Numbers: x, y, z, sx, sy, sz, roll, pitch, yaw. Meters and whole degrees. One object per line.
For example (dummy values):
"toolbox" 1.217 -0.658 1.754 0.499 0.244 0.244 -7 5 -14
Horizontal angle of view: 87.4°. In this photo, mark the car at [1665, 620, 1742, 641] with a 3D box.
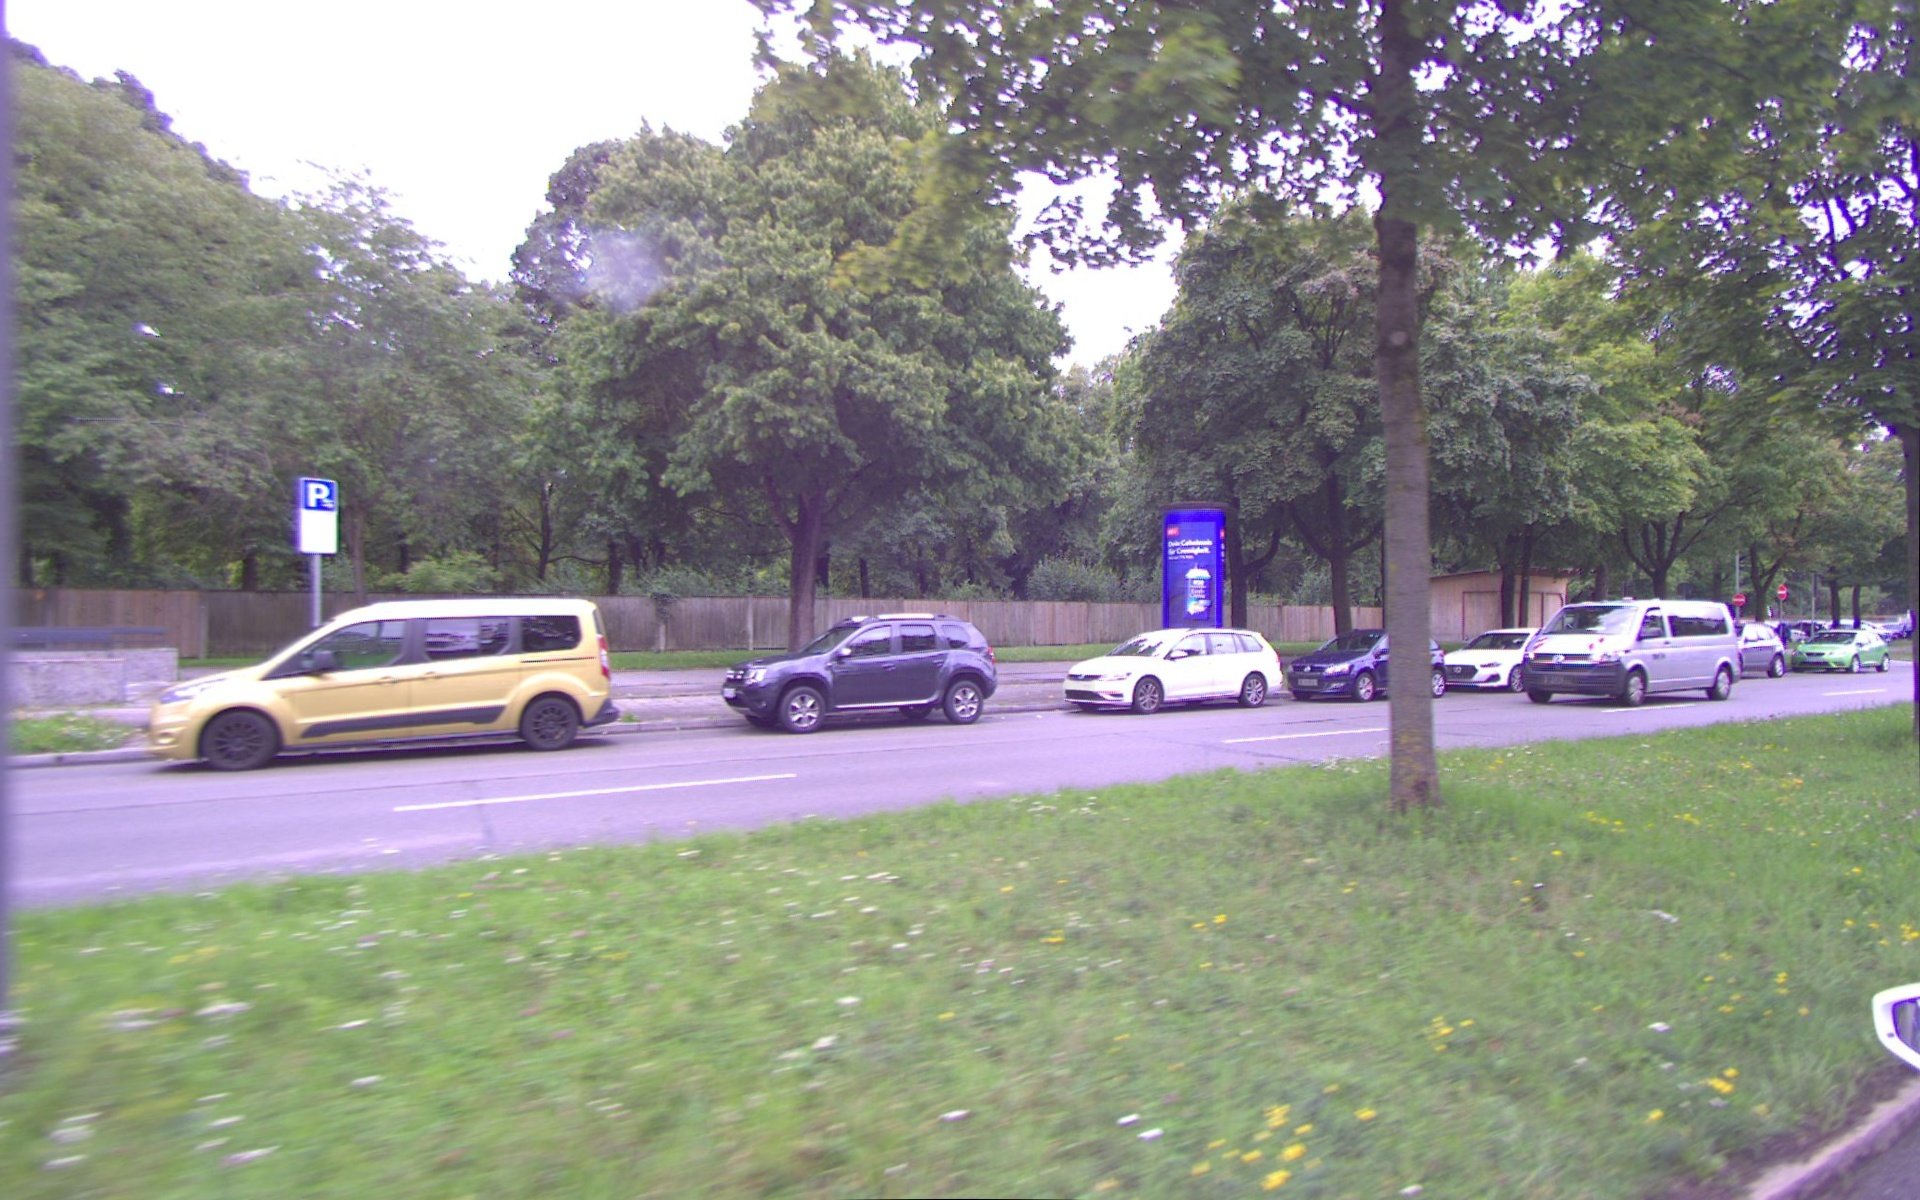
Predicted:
"car" 59.100 2.402 79.882 1.652 1.465 4.670 1 0 -29

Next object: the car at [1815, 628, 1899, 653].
"car" 59.092 2.662 66.207 1.656 1.465 3.841 1 0 -35

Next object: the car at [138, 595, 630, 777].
"car" -6.571 0.914 12.016 4.759 1.806 1.806 1 -2 -30

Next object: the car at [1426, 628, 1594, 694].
"car" 13.286 1.422 24.203 4.229 1.463 1.600 1 -2 -31

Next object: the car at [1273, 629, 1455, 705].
"car" 8.478 1.340 21.003 3.855 1.436 1.604 1 -2 -33

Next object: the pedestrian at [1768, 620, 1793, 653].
"pedestrian" 40.346 1.794 49.404 0.712 1.554 0.724 1 0 -30

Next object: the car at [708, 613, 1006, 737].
"car" -1.518 1.060 15.320 4.207 1.667 1.728 1 -2 -31

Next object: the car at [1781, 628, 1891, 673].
"car" 29.643 1.673 33.971 3.830 1.428 1.542 1 -2 -28

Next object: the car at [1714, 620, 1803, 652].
"car" 48.039 2.134 60.495 1.656 1.741 3.893 1 0 -35

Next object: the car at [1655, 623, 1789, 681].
"car" 22.577 1.505 29.742 4.321 1.607 1.682 1 -2 -31

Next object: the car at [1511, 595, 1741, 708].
"car" 13.005 0.969 19.536 4.937 1.959 1.790 1 -2 -31

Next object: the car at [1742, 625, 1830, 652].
"car" 50.629 2.328 61.618 1.656 1.465 3.841 1 0 -35

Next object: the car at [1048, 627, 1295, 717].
"car" 3.961 1.257 18.563 4.481 1.469 1.754 1 -2 -31
